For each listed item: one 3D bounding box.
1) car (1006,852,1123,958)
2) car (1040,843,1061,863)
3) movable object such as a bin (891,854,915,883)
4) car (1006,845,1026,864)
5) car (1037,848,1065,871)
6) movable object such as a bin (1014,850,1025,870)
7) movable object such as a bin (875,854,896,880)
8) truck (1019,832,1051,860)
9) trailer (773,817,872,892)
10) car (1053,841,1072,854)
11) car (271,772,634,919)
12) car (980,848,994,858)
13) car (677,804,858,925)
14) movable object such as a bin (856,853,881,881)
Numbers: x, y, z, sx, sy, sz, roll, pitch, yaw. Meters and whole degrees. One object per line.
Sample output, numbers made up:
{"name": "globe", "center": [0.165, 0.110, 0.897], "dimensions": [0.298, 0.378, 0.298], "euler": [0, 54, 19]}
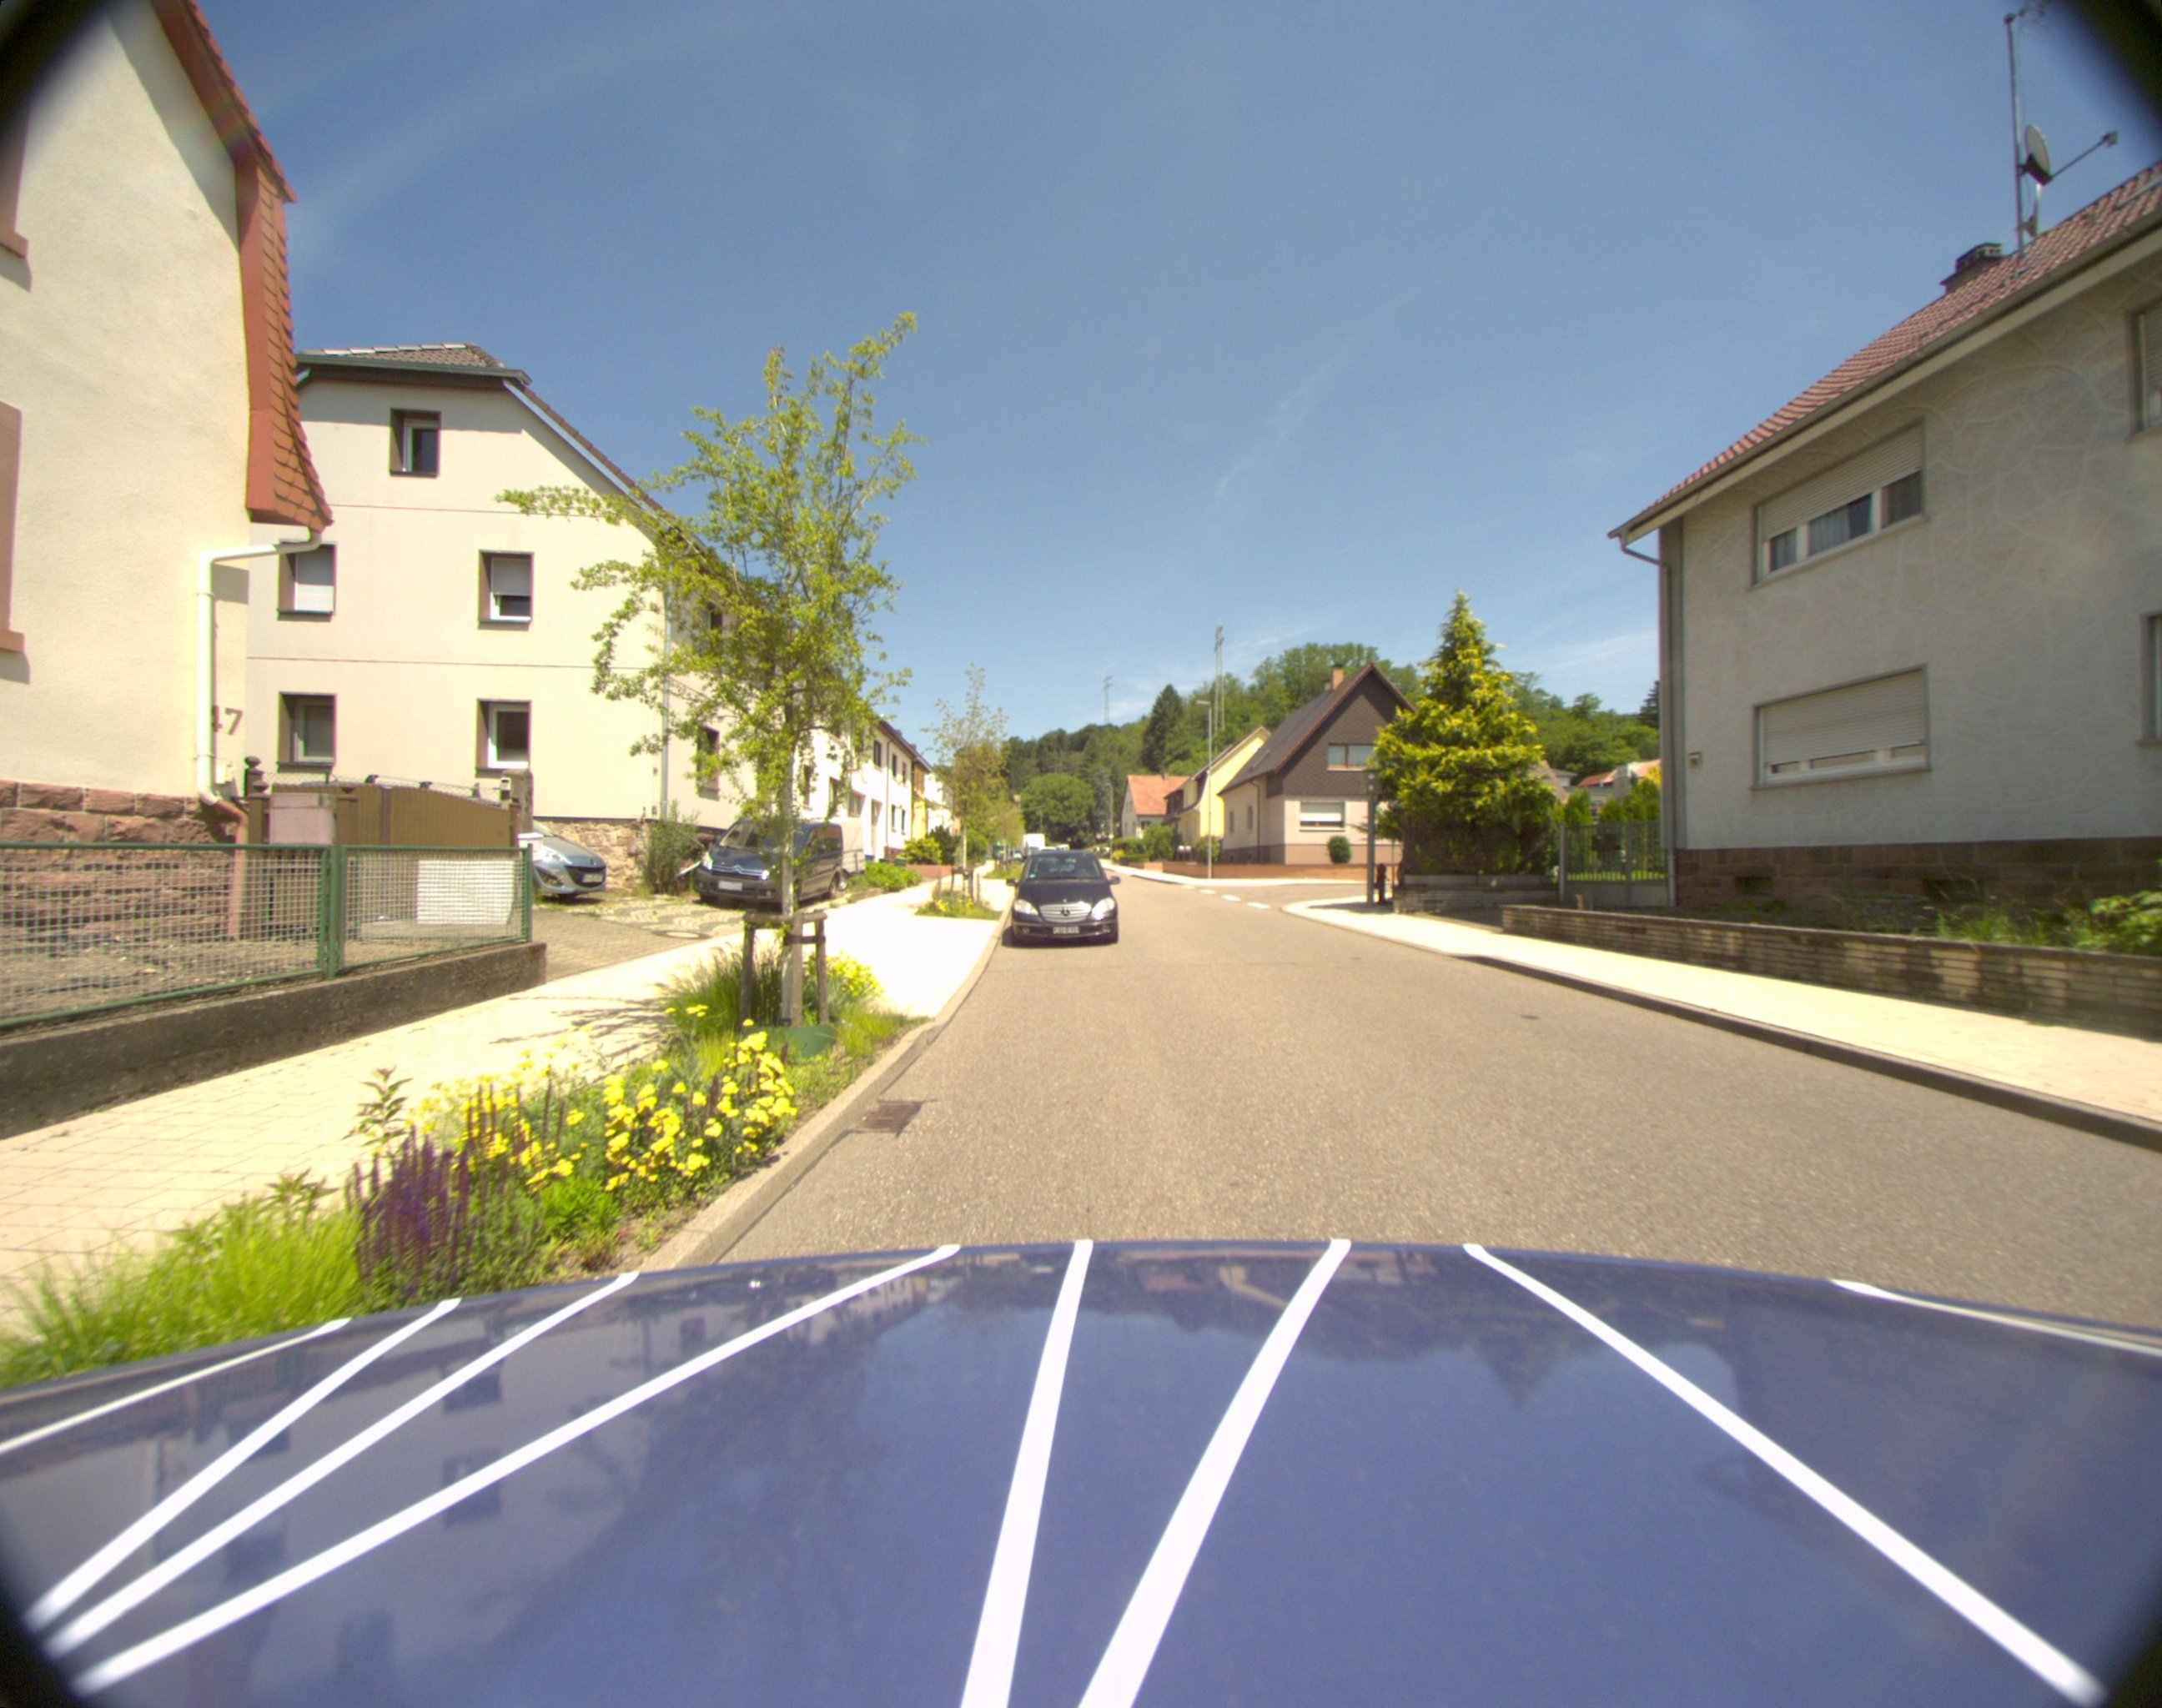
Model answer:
{"name": "car", "center": [-0.307, 0.804, 14.029], "dimensions": [1.790, 1.595, 4.074], "euler": [-2, 0, -1]}
{"name": "car", "center": [-3.043, -0.094, 74.617], "dimensions": [1.969, 1.823, 4.463], "euler": [1, 0, -3]}
{"name": "movable object such as a bin", "center": [-7.277, 0.595, 31.095], "dimensions": [0.686, 1.109, 0.812], "euler": [3, 1, 2]}
{"name": "car", "center": [-6.544, 0.041, 75.821], "dimensions": [1.861, 1.832, 4.667], "euler": [1, 1, -7]}
{"name": "car", "center": [-2.195, 0.380, 54.858], "dimensions": [1.715, 1.595, 3.876], "euler": [0, 1, -7]}
{"name": "movable object such as a bin", "center": [-4.471, 0.415, 55.315], "dimensions": [0.794, 1.387, 0.924], "euler": [-1, 1, -6]}
{"name": "movable object such as a bin", "center": [-7.958, 0.530, 30.929], "dimensions": [0.559, 0.980, 0.803], "euler": [4, 1, 3]}
{"name": "truck", "center": [-5.878, -0.972, 95.792], "dimensions": [2.808, 3.394, 8.111], "euler": [-1, 0, -11]}
{"name": "trailer", "center": [-7.373, -0.004, 21.768], "dimensions": [1.320, 2.002, 2.278], "euler": [0, 1, 39]}
{"name": "car", "center": [-2.849, -1.059, 118.031], "dimensions": [1.706, 1.938, 3.992], "euler": [-2, 1, -22]}
{"name": "car", "center": [-9.717, -0.130, 12.045], "dimensions": [3.998, 1.755, 1.890], "euler": [6, 1, -2]}
{"name": "car", "center": [-13.633, -0.146, 109.652], "dimensions": [1.677, 1.368, 3.995], "euler": [1, 0, -11]}
{"name": "car", "center": [-6.587, 0.169, 16.656], "dimensions": [1.857, 1.959, 4.771], "euler": [11, 0, -3]}
{"name": "movable object such as a bin", "center": [-8.650, 0.518, 30.913], "dimensions": [0.686, 1.100, 0.863], "euler": [3, 1, 3]}
